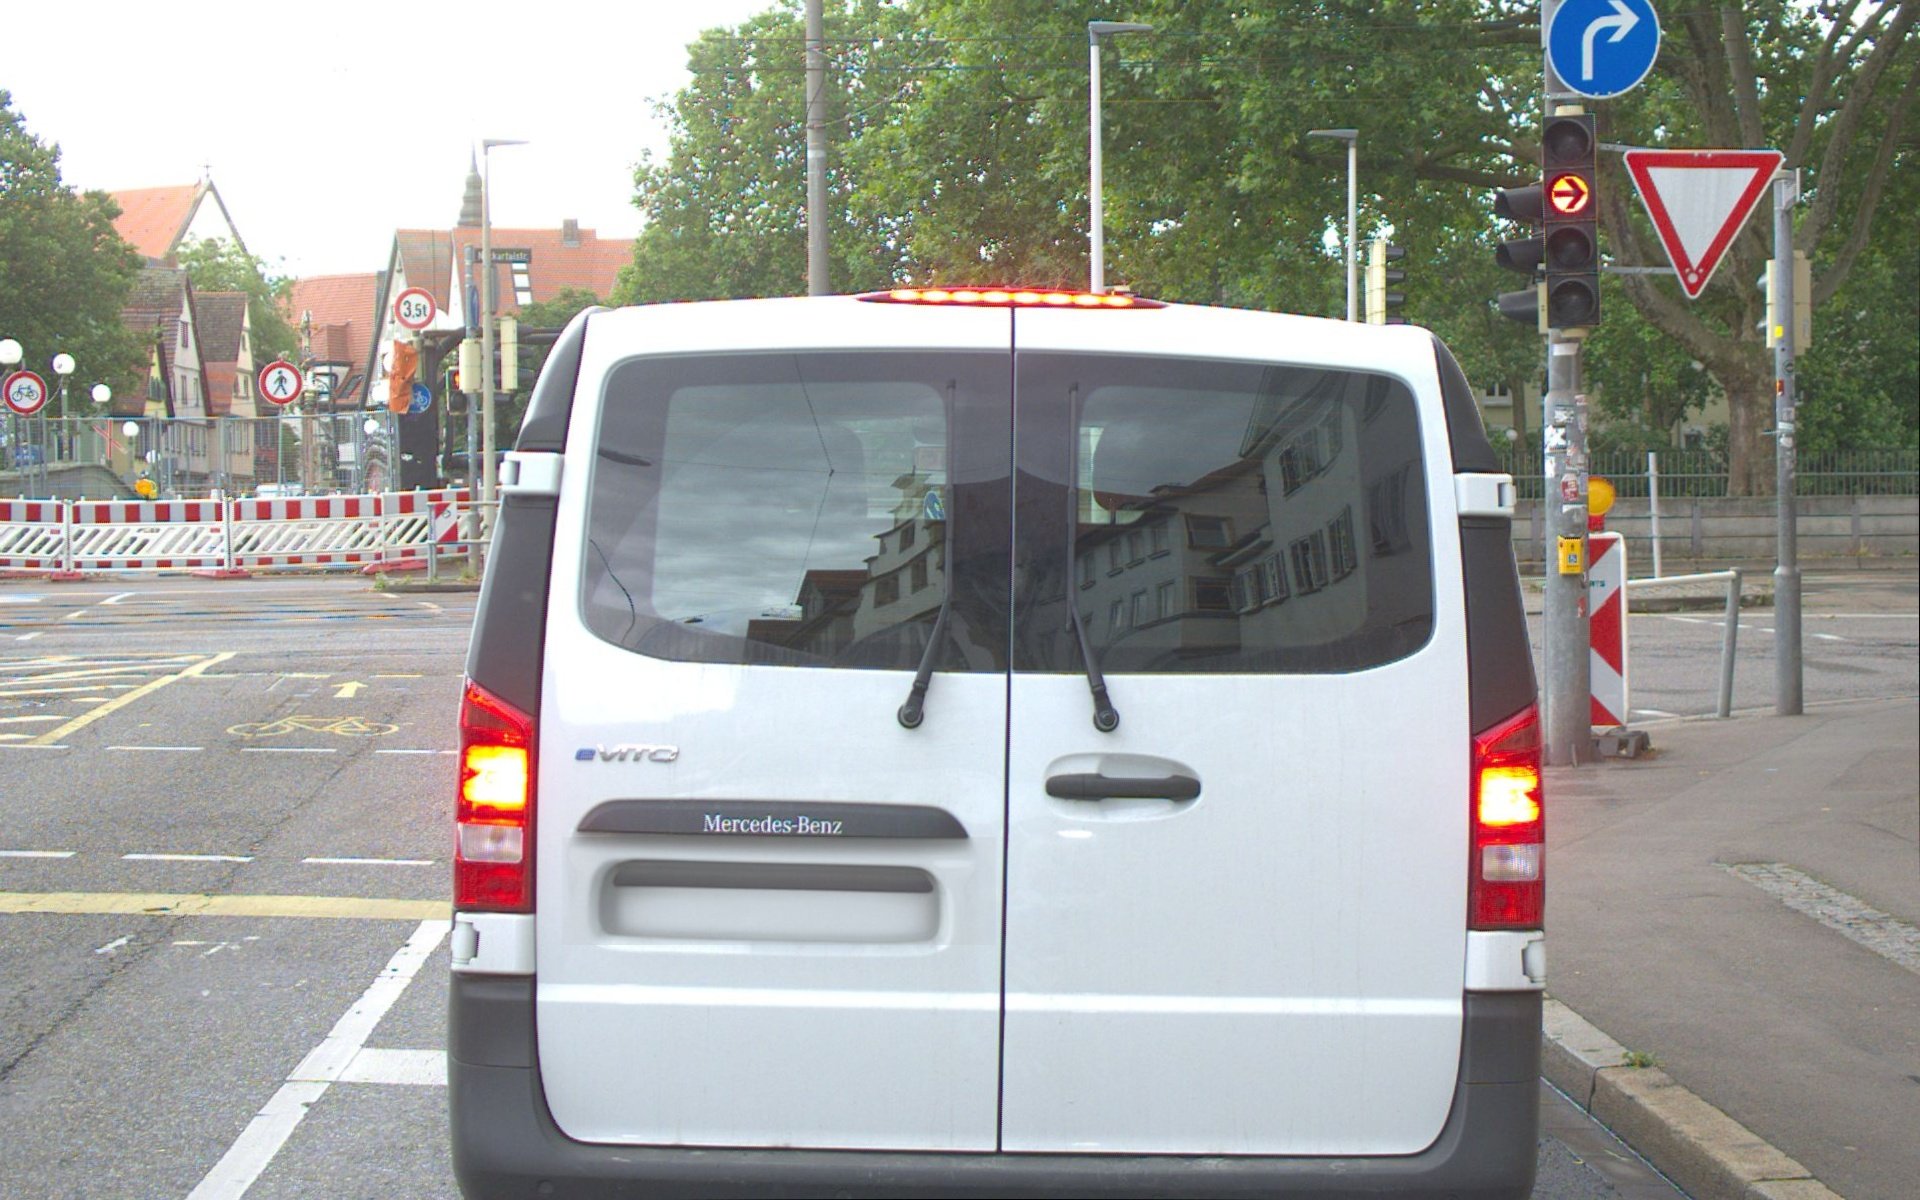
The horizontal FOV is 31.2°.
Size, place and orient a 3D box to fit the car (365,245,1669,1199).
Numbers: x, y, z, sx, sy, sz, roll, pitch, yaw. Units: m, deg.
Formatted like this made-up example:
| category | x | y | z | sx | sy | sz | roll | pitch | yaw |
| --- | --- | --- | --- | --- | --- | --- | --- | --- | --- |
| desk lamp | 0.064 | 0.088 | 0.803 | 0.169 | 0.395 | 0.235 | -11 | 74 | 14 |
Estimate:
| category | x | y | z | sx | sy | sz | roll | pitch | yaw |
| --- | --- | --- | --- | --- | --- | --- | --- | --- | --- |
| car | -0.042 | 0.324 | 7.418 | 1.993 | 1.916 | 4.250 | 1 | 3 | -4 |
